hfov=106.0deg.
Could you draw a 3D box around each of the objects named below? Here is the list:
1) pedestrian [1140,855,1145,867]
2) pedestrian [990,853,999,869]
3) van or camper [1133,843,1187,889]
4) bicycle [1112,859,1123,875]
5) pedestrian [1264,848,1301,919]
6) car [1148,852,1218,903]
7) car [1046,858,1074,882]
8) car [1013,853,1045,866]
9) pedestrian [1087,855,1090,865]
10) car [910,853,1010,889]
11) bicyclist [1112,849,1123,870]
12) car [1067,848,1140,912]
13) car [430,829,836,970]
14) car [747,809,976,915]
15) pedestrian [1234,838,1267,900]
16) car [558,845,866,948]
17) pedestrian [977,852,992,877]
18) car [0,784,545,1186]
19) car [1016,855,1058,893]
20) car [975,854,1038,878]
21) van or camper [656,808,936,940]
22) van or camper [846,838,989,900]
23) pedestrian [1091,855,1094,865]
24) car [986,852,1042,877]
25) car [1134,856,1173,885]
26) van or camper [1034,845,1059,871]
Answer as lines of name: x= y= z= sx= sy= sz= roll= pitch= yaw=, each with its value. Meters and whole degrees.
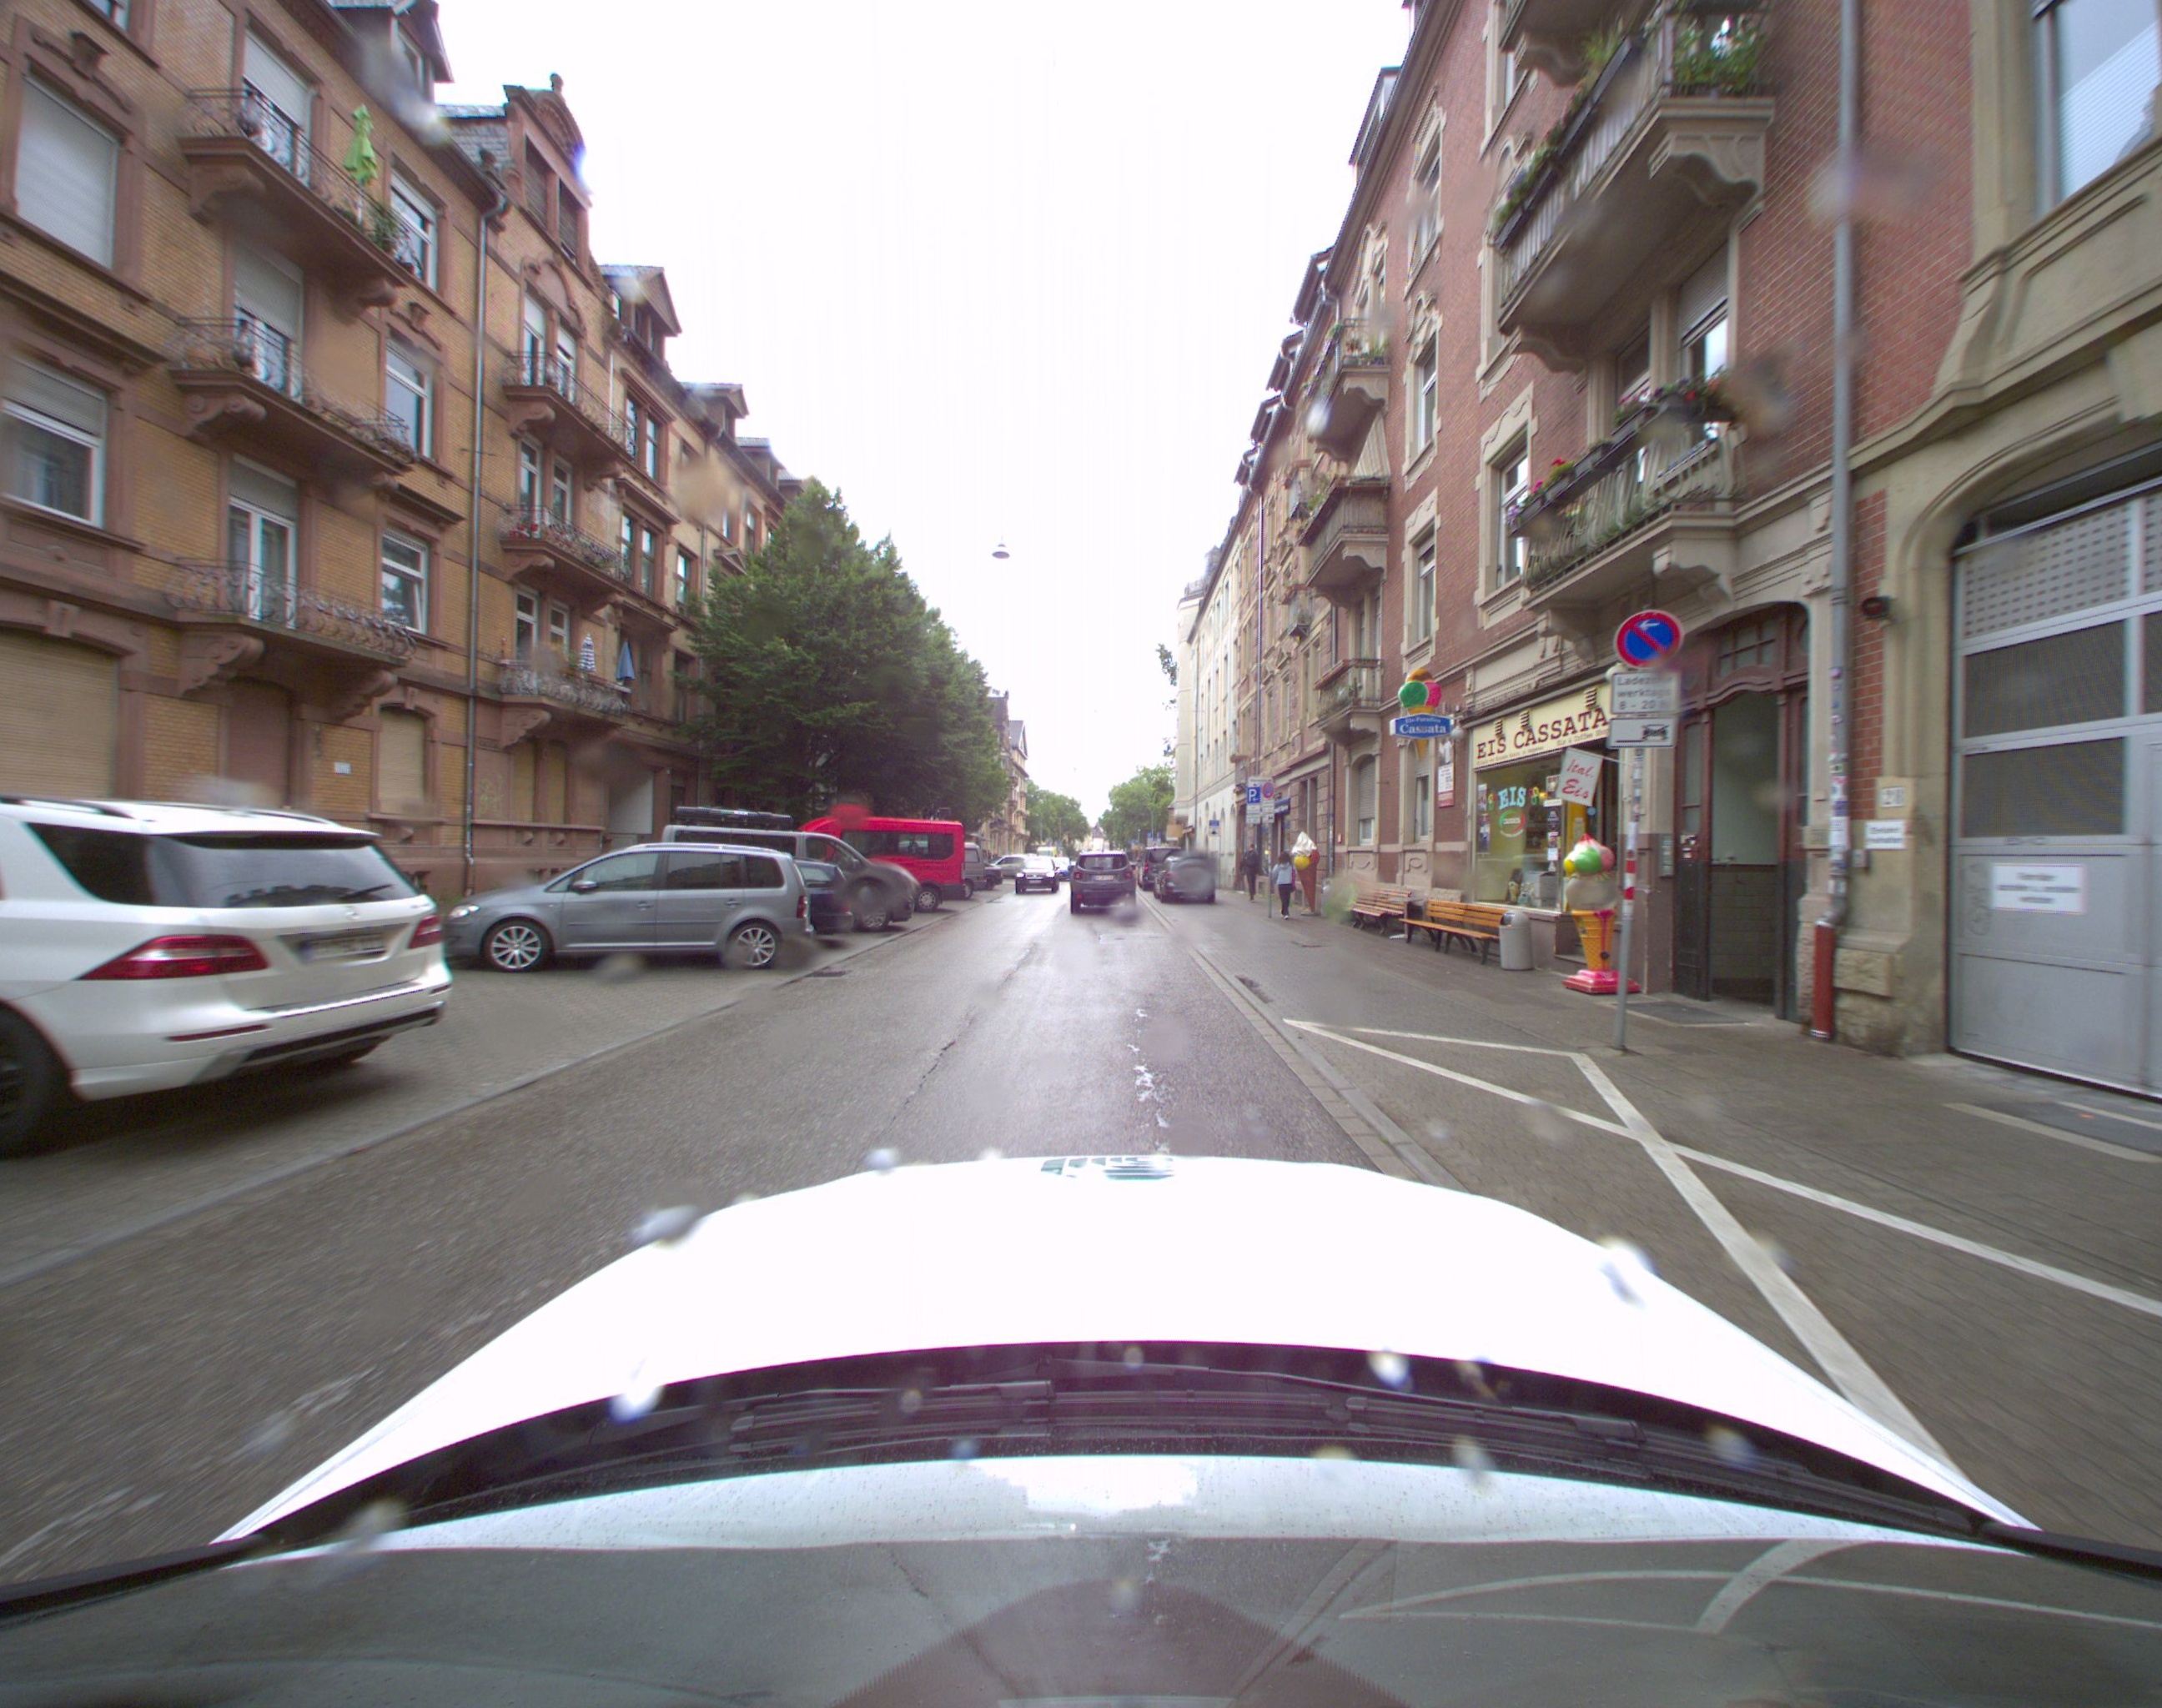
pedestrian: x=8.520 y=0.957 z=112.369 sx=0.688 sy=1.711 sz=0.684 roll=0 pitch=0 yaw=1
pedestrian: x=-8.906 y=0.703 z=83.890 sx=0.705 sy=1.551 sz=0.609 roll=3 pitch=0 yaw=8
van or camper: x=3.471 y=0.499 z=36.483 sx=2.014 sy=1.891 sz=5.056 roll=-1 pitch=0 yaw=1
bicycle: x=2.436 y=0.844 z=54.927 sx=0.702 sy=1.054 sz=1.813 roll=0 pitch=0 yaw=2
pedestrian: x=4.740 y=0.680 z=19.183 sx=0.676 sy=1.613 sz=0.810 roll=0 pitch=0 yaw=2
car: x=3.303 y=0.739 z=27.041 sx=1.835 sy=1.545 sz=4.003 roll=0 pitch=0 yaw=0
car: x=-1.283 y=0.959 z=51.288 sx=1.664 sy=1.465 sz=4.003 roll=0 pitch=0 yaw=0
car: x=-6.681 y=0.731 z=105.106 sx=3.680 sy=1.559 sz=1.780 roll=2 pitch=-1 yaw=-35
pedestrian: x=1.232 y=0.953 z=135.327 sx=0.466 sy=1.585 sz=0.752 roll=0 pitch=0 yaw=0
car: x=-5.285 y=0.773 z=35.841 sx=3.998 sy=1.447 sz=1.747 roll=2 pitch=0 yaw=-39
bicyclist: x=2.437 y=0.384 z=54.930 sx=0.702 sy=1.403 sz=1.171 roll=0 pitch=0 yaw=2
car: x=0.599 y=0.693 z=23.407 sx=1.892 sy=1.671 sz=4.505 roll=0 pitch=0 yaw=0
car: x=-5.831 y=0.627 z=11.189 sx=4.452 sy=1.630 sz=1.829 roll=3 pitch=0 yaw=-25
car: x=-5.863 y=0.225 z=21.897 sx=5.584 sy=2.541 sz=2.210 roll=1 pitch=0 yaw=-27
pedestrian: x=5.430 y=0.478 z=26.067 sx=0.672 sy=1.934 sz=0.815 roll=-1 pitch=1 yaw=36
car: x=-5.969 y=0.710 z=13.642 sx=4.359 sy=1.504 sz=1.743 roll=2 pitch=0 yaw=-22
pedestrian: x=-6.992 y=0.772 z=59.190 sx=0.820 sy=1.752 sz=0.758 roll=3 pitch=0 yaw=8
car: x=-6.462 y=0.498 z=4.970 sx=4.563 sy=1.785 sz=2.545 roll=3 pitch=0 yaw=0
car: x=-1.859 y=0.835 z=35.350 sx=1.665 sy=1.559 sz=4.001 roll=0 pitch=0 yaw=-1
car: x=-4.778 y=0.768 z=52.642 sx=3.729 sy=1.452 sz=1.668 roll=0 pitch=0 yaw=-34
van or camper: x=-5.741 y=0.379 z=16.615 sx=5.033 sy=2.349 sz=2.326 roll=1 pitch=0 yaw=-25
van or camper: x=-5.611 y=0.521 z=28.112 sx=4.463 sy=1.975 sz=1.764 roll=1 pitch=0 yaw=-32
pedestrian: x=1.869 y=0.995 z=136.509 sx=0.466 sy=1.585 sz=0.752 roll=0 pitch=0 yaw=0
car: x=-4.562 y=0.723 z=55.521 sx=3.398 sy=1.654 sz=1.617 roll=0 pitch=0 yaw=-32
car: x=3.662 y=0.827 z=41.817 sx=1.704 sy=1.400 sz=3.705 roll=-1 pitch=0 yaw=1
van or camper: x=-3.752 y=0.509 z=89.308 sx=2.114 sy=2.531 sz=6.875 roll=-3 pitch=-2 yaw=1
